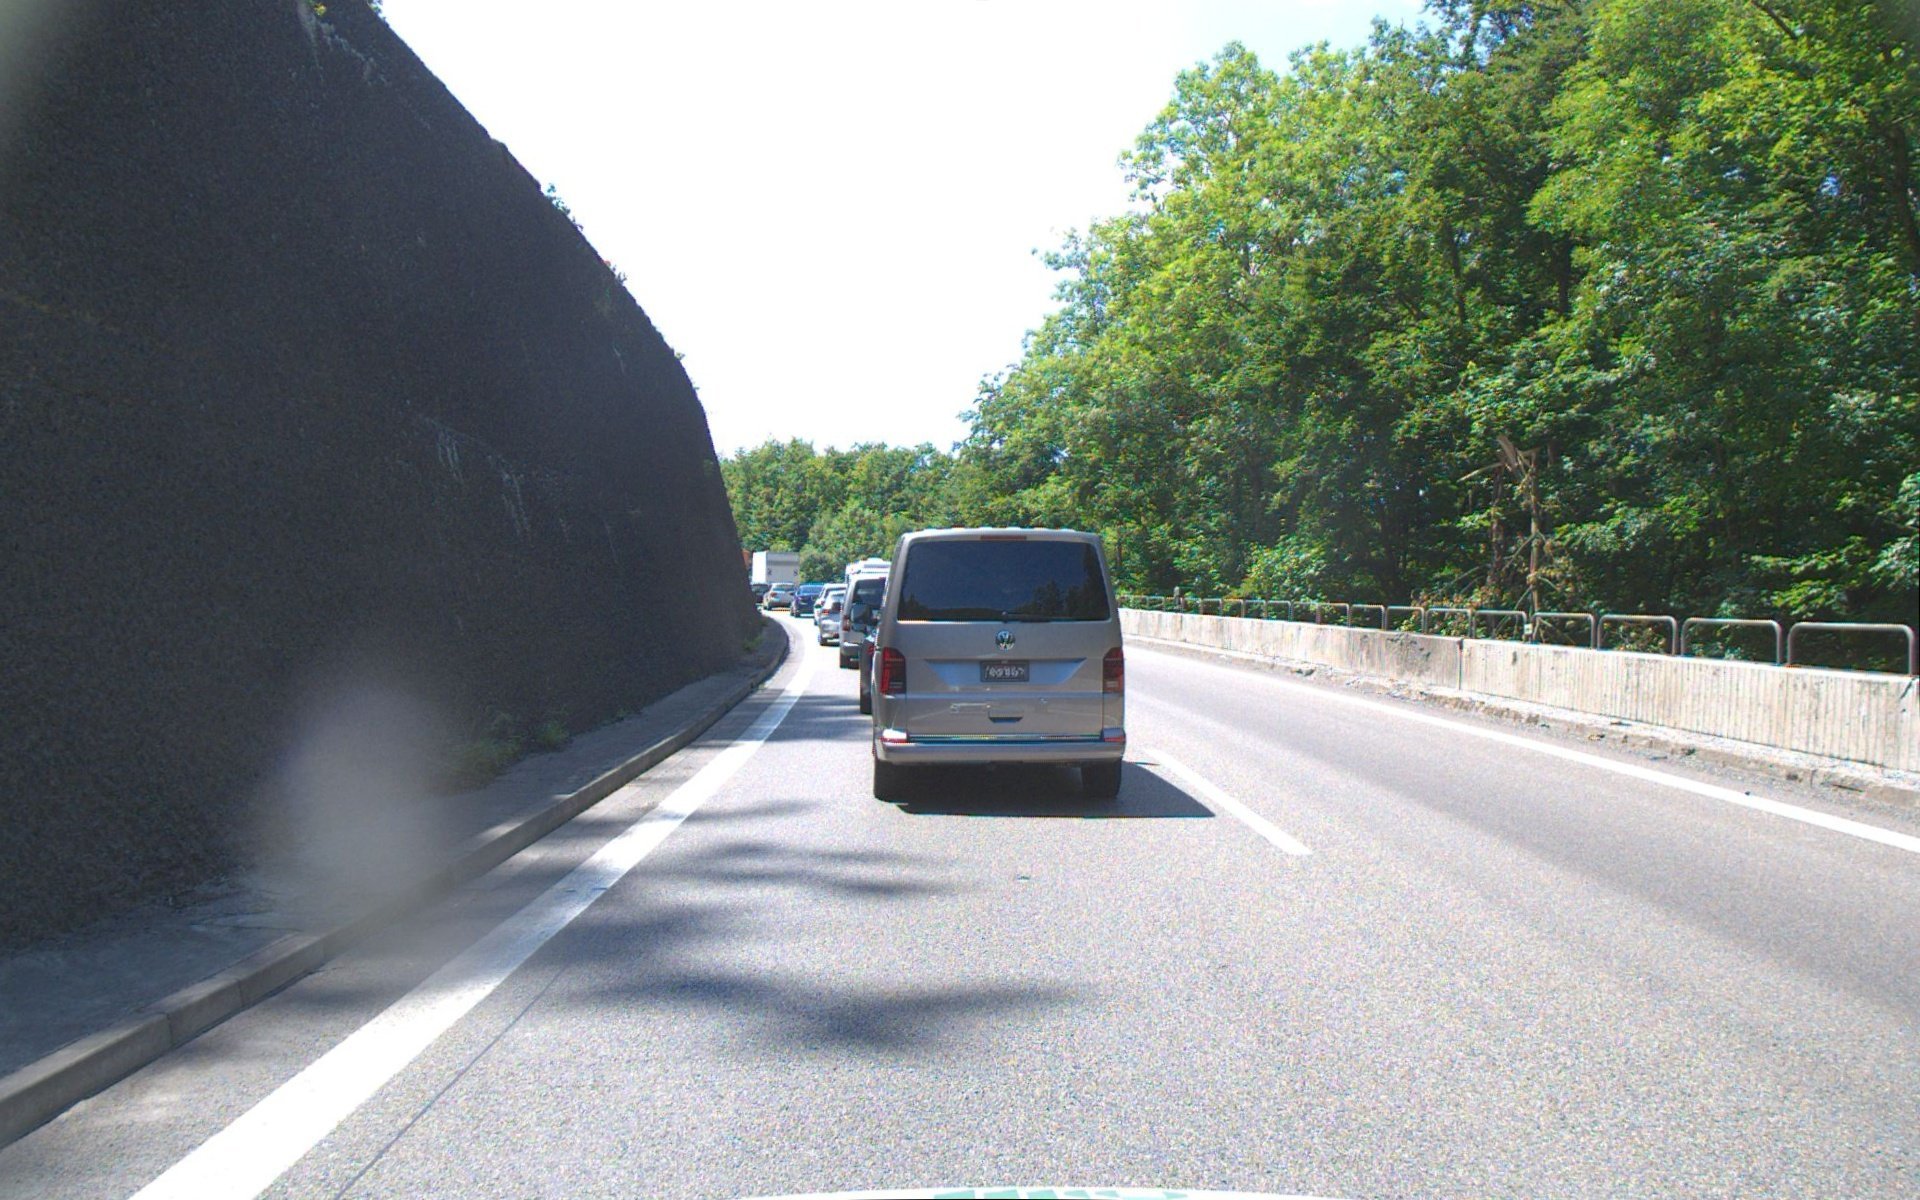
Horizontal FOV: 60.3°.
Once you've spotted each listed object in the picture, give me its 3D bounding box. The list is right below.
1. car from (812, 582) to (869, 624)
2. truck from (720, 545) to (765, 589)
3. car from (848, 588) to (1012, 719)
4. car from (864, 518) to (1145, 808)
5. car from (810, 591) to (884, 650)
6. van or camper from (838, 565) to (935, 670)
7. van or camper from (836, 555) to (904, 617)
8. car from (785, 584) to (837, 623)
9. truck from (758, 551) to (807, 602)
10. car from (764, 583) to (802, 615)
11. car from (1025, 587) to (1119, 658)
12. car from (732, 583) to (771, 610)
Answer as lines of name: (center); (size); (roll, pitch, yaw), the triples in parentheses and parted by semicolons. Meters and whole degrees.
car: (-4.463, 0.091, 61.286); (1.828, 1.512, 3.993); (0, 0, -8)
truck: (-19.340, -2.934, 146.998); (3.108, 3.527, 8.198); (5, 0, -12)
car: (-0.504, 0.631, 22.026); (1.867, 1.515, 4.375); (2, 0, -5)
car: (0.219, 0.414, 13.683); (1.901, 1.965, 4.692); (1, 0, -2)
car: (-3.001, 0.515, 44.645); (1.735, 1.498, 4.000); (1, 0, -1)
van or camper: (-1.540, 0.305, 33.274); (1.817, 1.976, 4.161); (0, 0, -5)
van or camper: (-4.749, -0.739, 85.923); (2.557, 2.904, 6.320); (4, 0, -10)
car: (-6.748, 0.142, 74.537); (1.825, 1.648, 3.988); (1, 0, -12)
truck: (-13.355, -1.739, 123.733); (2.874, 3.751, 7.701); (0, 0, -12)
car: (-9.546, -0.091, 89.455); (1.955, 1.646, 3.995); (1, 0, -6)
car: (2.500, 0.481, 37.733); (1.651, 1.484, 3.998); (2, 0, -3)
car: (-12.729, -0.211, 100.801); (1.723, 1.598, 3.753); (1, 0, -17)
